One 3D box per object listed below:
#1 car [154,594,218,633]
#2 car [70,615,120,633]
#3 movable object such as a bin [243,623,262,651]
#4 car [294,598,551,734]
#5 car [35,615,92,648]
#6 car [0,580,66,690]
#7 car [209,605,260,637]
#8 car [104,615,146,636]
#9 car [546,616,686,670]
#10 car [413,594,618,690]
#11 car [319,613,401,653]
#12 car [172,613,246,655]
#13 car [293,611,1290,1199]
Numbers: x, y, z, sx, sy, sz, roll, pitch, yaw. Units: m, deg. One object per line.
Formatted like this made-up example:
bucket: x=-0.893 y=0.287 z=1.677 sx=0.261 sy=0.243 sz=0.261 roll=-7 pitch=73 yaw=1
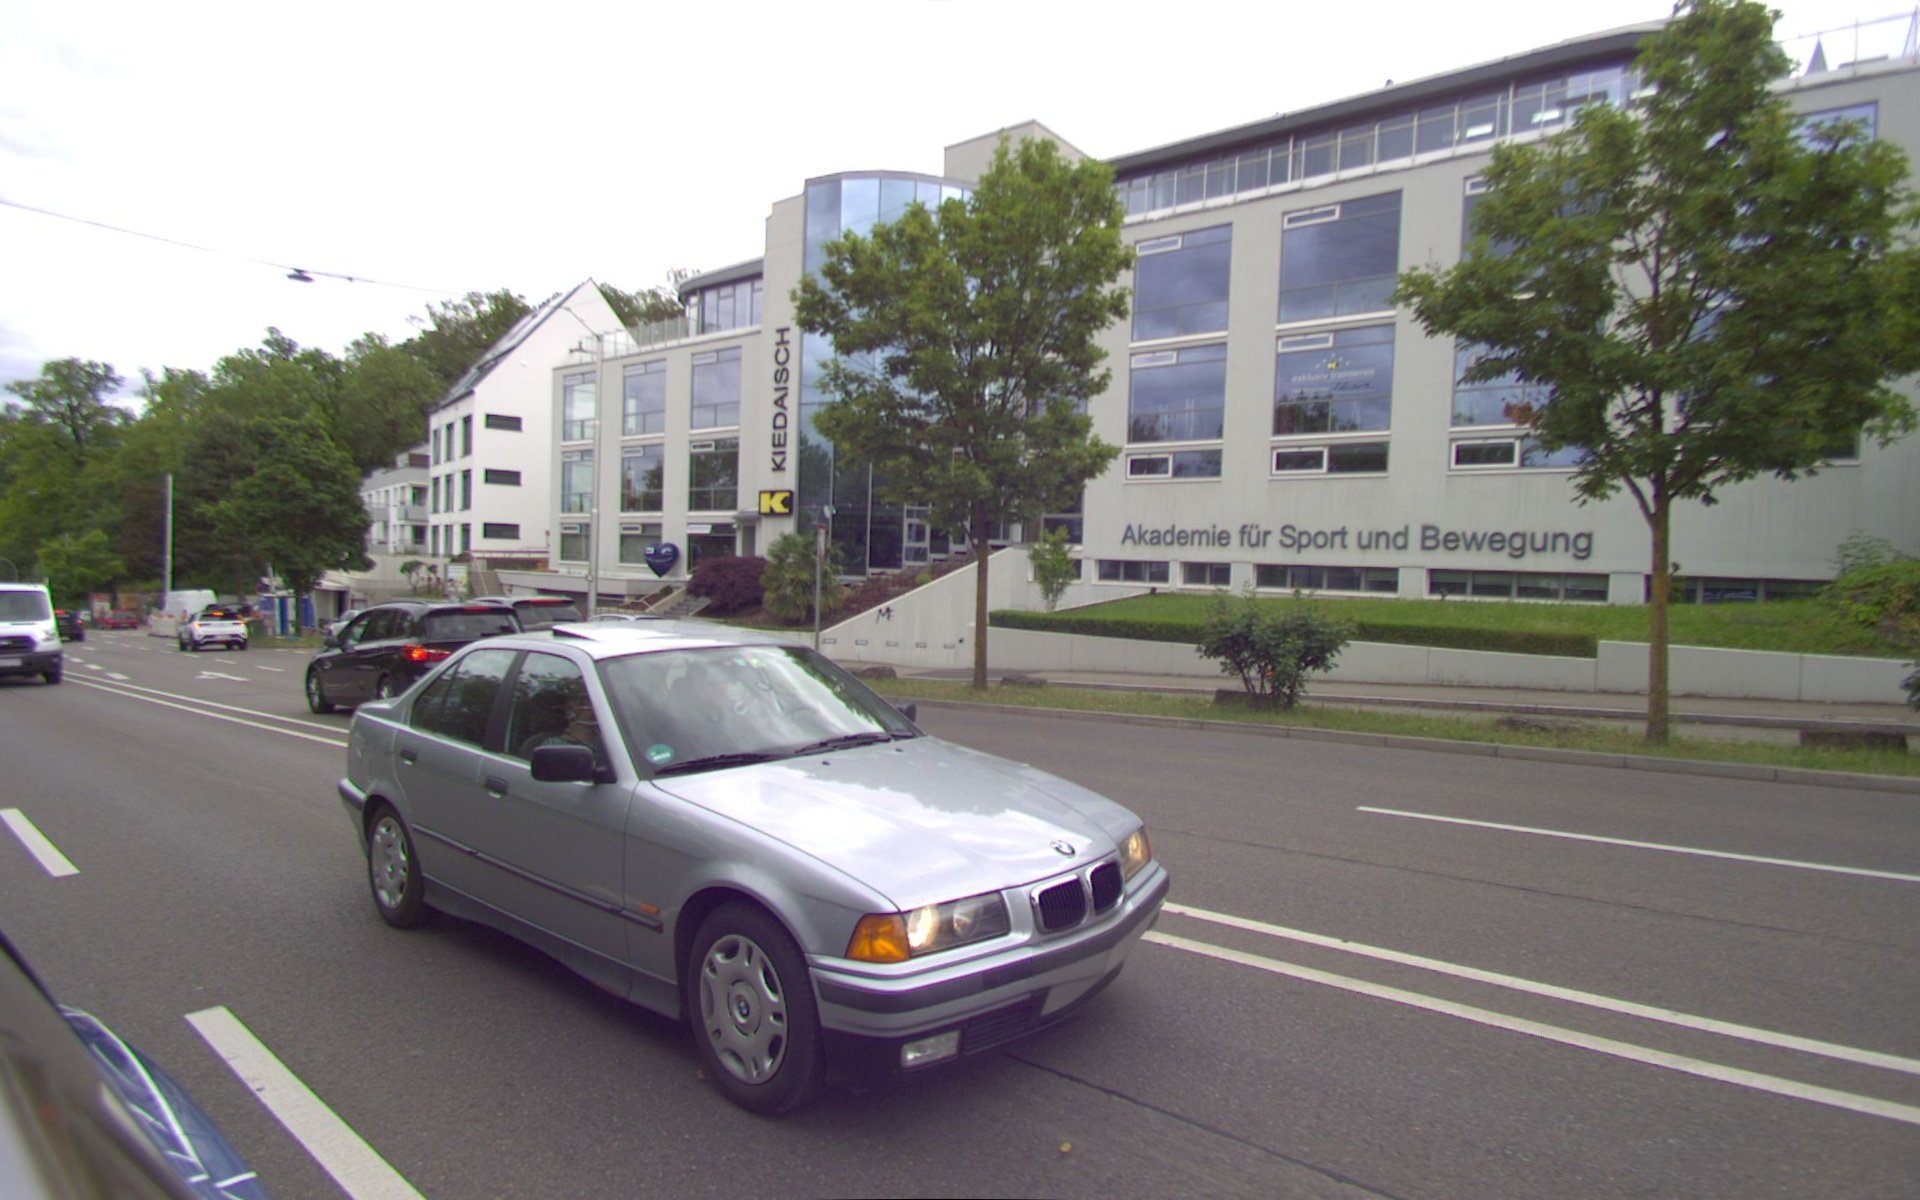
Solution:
car: x=-53.379 y=0.907 z=69.727 sx=6.526 sy=2.545 sz=1.974 roll=-1 pitch=0 yaw=39
car: x=-75.339 y=2.096 z=88.158 sx=1.561 sy=1.453 sz=3.295 roll=-1 pitch=0 yaw=0
movable object such as a bin: x=-30.562 y=1.596 z=43.717 sx=0.581 sy=1.146 sz=0.646 roll=-1 pitch=0 yaw=-42
car: x=-7.594 y=0.817 z=14.106 sx=4.364 sy=1.604 sz=1.745 roll=-1 pitch=0 yaw=41
car: x=-48.013 y=1.664 z=54.161 sx=4.762 sy=1.716 sz=1.827 roll=-1 pitch=-1 yaw=43
car: x=-21.552 y=0.763 z=22.142 sx=6.261 sy=2.190 sz=1.974 roll=-2 pitch=-1 yaw=39
car: x=-42.507 y=1.203 z=59.265 sx=1.785 sy=1.764 sz=4.253 roll=-2 pitch=1 yaw=-45
car: x=-59.650 y=1.784 z=72.258 sx=3.289 sy=1.453 sz=1.564 roll=-1 pitch=0 yaw=36
car: x=-9.875 y=1.208 z=28.895 sx=4.413 sy=1.439 sz=1.656 roll=-1 pitch=-3 yaw=39
car: x=-9.020 y=0.782 z=20.338 sx=4.865 sy=1.721 sz=1.746 roll=-1 pitch=0 yaw=39
car: x=-23.840 y=1.271 z=40.152 sx=4.238 sy=1.515 sz=1.650 roll=-1 pitch=-2 yaw=43
car: x=-29.609 y=1.315 z=39.856 sx=3.924 sy=1.553 sz=1.780 roll=-1 pitch=-1 yaw=45
car: x=-1.159 y=0.766 z=4.318 sx=4.617 sy=1.393 sz=1.618 roll=-1 pitch=0 yaw=41
